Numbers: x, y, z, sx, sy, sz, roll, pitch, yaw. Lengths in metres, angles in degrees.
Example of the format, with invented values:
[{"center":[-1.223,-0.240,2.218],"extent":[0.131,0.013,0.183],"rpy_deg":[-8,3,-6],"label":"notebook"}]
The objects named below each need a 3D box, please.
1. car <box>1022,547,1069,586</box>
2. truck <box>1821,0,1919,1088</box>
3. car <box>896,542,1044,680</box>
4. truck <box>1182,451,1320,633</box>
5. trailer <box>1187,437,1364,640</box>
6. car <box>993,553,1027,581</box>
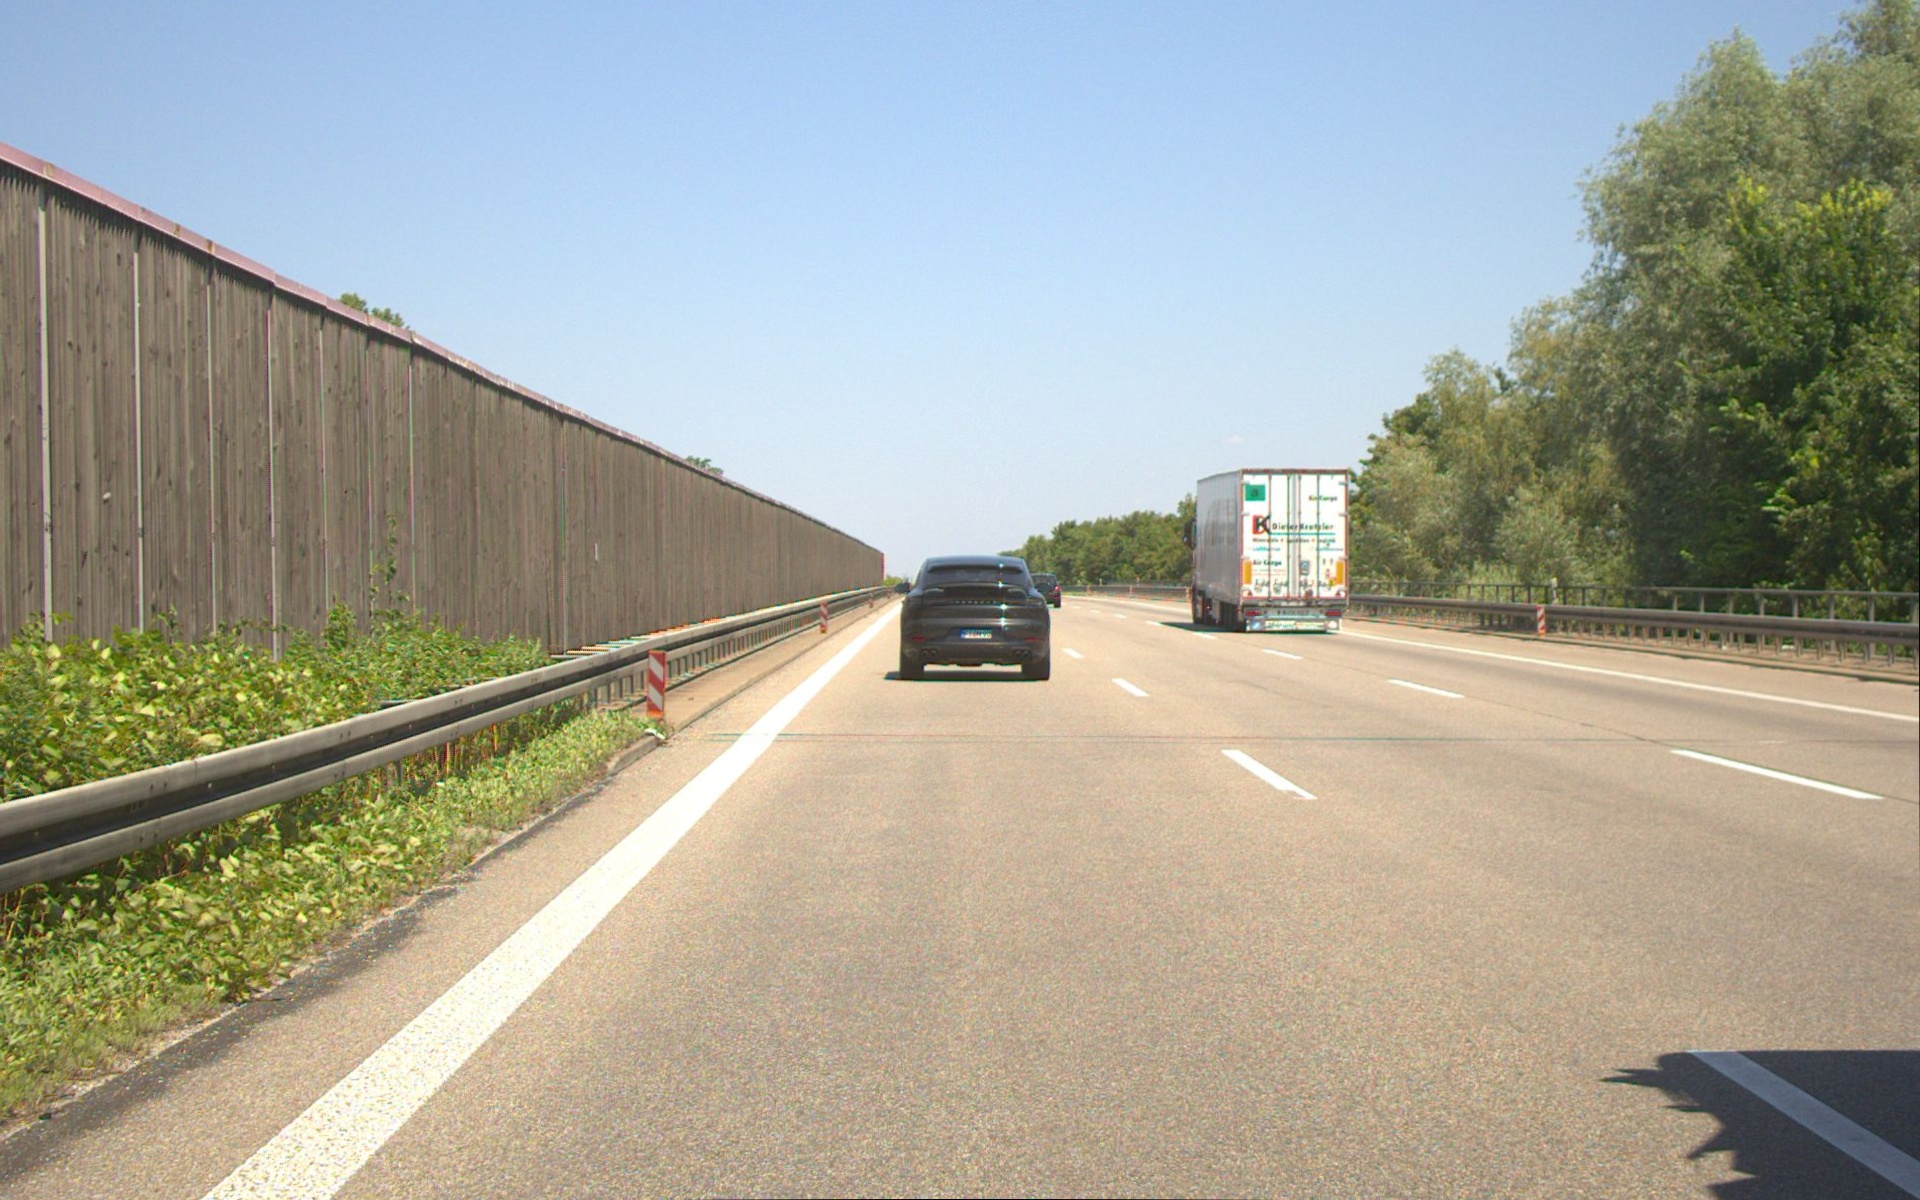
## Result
[{"center":[3.713,-1.444,150.307],"extent":[1.903,1.578,4.304],"rpy_deg":[-1,0,0],"label":"car"},{"center":[4.092,-0.659,7.105],"extent":[2.700,4.104,6.991],"rpy_deg":[0,0,-1],"label":"truck"},{"center":[0.093,0.120,46.534],"extent":[1.880,1.786,4.000],"rpy_deg":[0,1,-2],"label":"car"},{"center":[8.046,-1.589,95.871],"extent":[3.234,4.872,6.972],"rpy_deg":[1,0,0],"label":"truck"},{"center":[8.012,-1.528,89.297],"extent":[3.269,4.821,14.029],"rpy_deg":[1,0,0],"label":"trailer"},{"center":[2.933,-1.930,202.160],"extent":[1.903,1.578,4.304],"rpy_deg":[-1,0,0],"label":"car"}]
